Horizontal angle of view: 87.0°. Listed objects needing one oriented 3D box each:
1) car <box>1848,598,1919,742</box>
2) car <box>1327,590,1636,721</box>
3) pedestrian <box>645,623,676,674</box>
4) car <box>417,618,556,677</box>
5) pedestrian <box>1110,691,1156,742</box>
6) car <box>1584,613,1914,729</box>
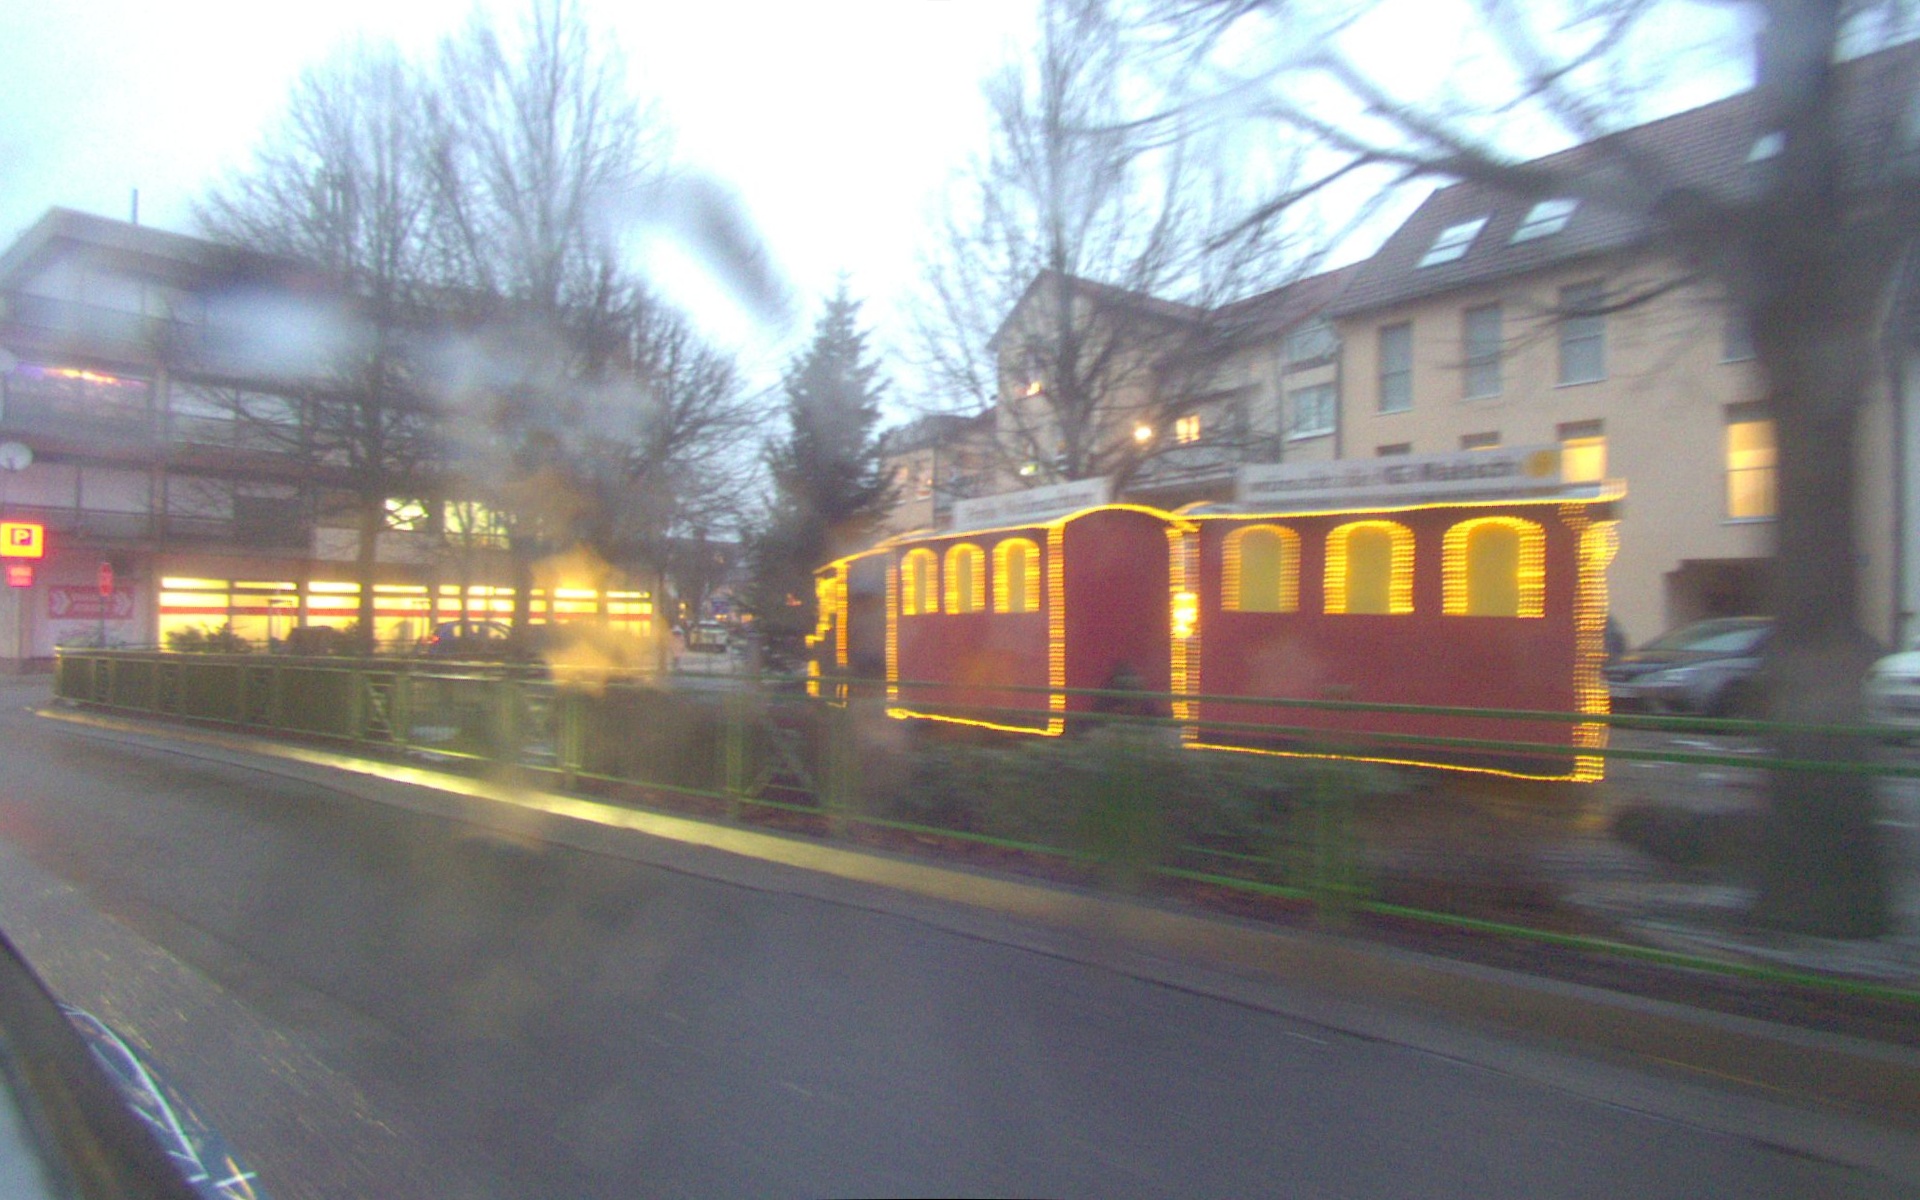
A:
[{"bbox_3d":[11.192,0.663,10.194,3.428,1.420,1.614,-1,-1,-12],"label":"car"},{"bbox_3d":[7.149,0.711,13.987,3.574,1.624,1.615,-1,-1,-14],"label":"car"},{"bbox_3d":[-8.099,1.306,27.364,0.612,1.349,0.568,0,-2,-41],"label":"pedestrian"},{"bbox_3d":[-13.325,1.302,28.545,3.259,1.519,1.504,0,-1,-41],"label":"car"},{"bbox_3d":[1.783,1.192,10.425,0.361,0.488,0.291,-1,-3,42],"label":"pedestrian"},{"bbox_3d":[9.484,0.797,12.254,3.004,1.229,1.615,-1,-1,-14],"label":"car"}]
